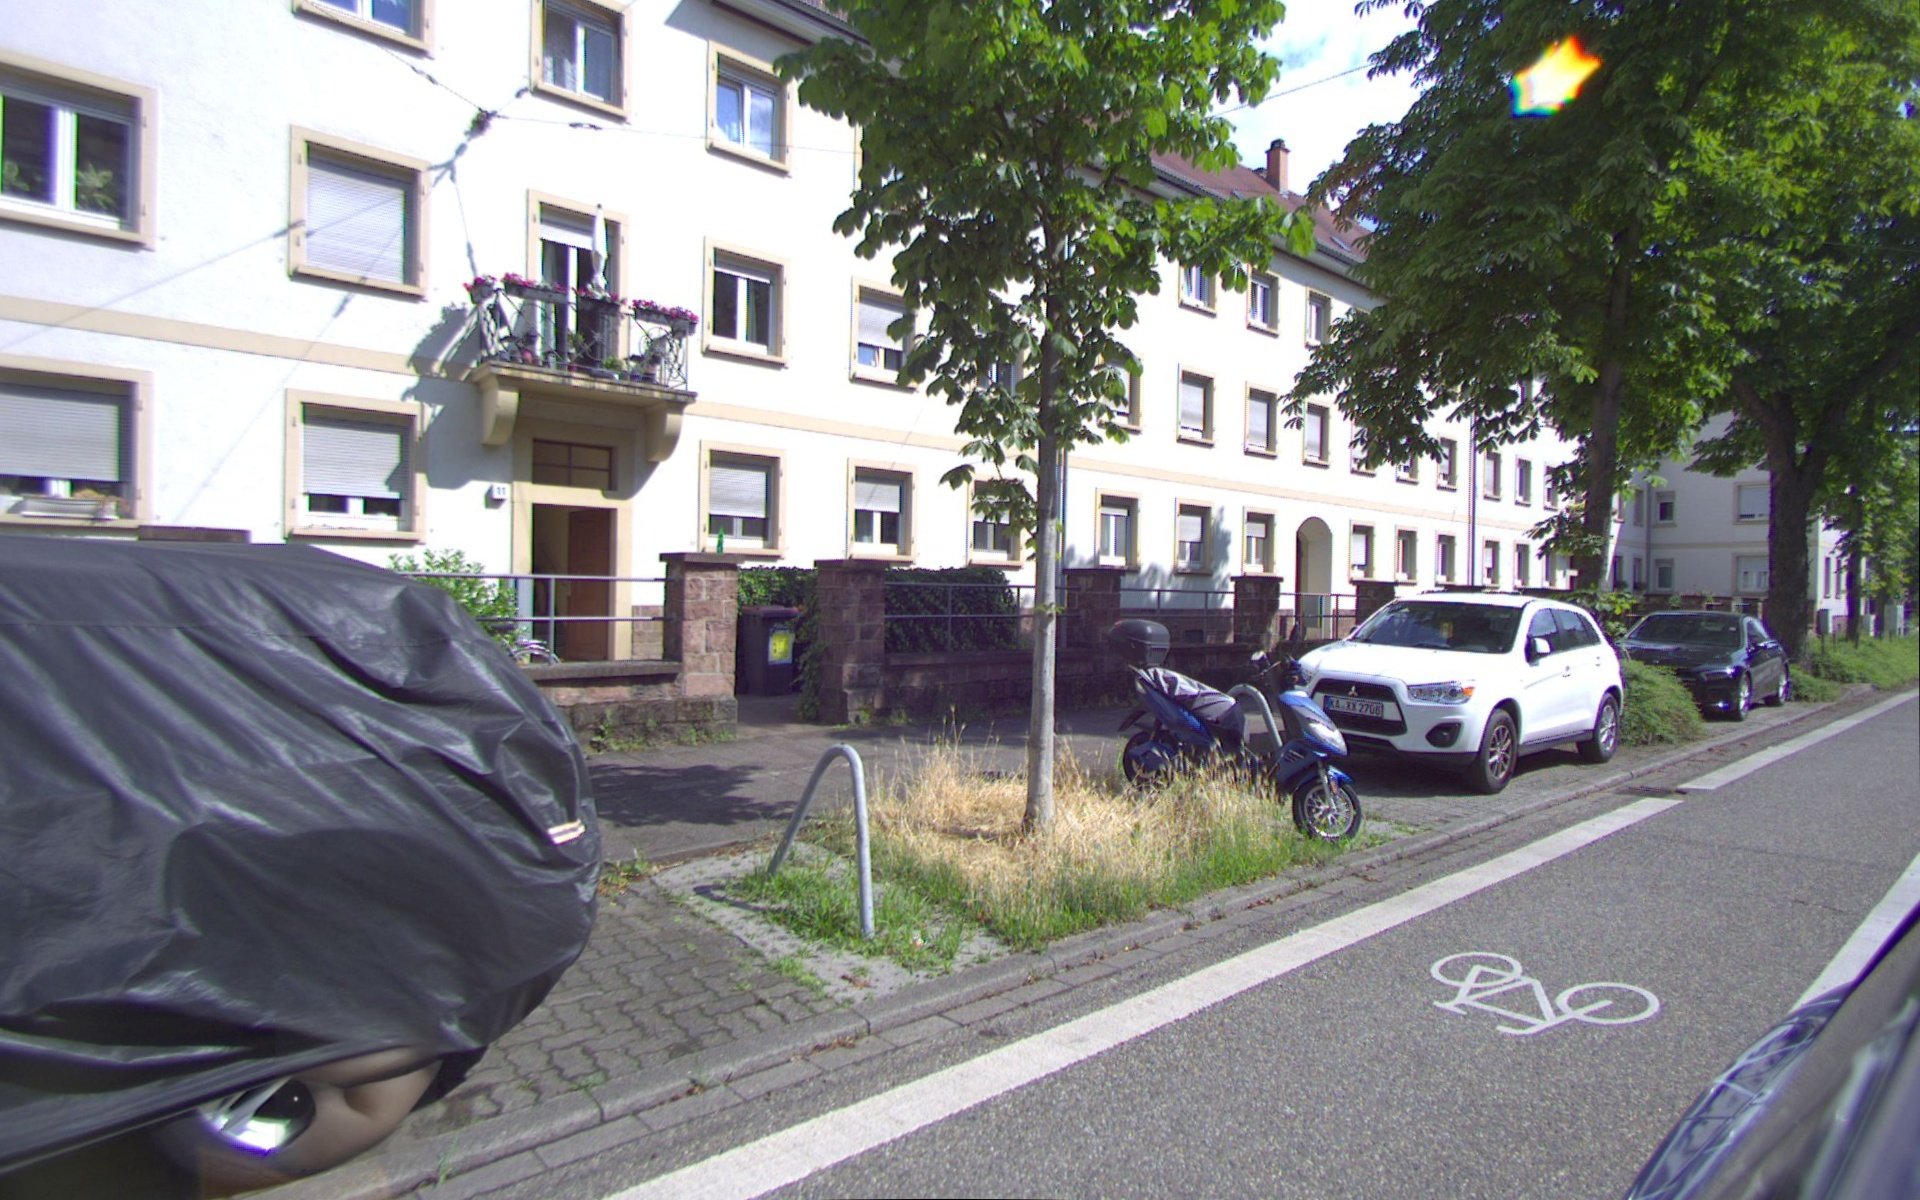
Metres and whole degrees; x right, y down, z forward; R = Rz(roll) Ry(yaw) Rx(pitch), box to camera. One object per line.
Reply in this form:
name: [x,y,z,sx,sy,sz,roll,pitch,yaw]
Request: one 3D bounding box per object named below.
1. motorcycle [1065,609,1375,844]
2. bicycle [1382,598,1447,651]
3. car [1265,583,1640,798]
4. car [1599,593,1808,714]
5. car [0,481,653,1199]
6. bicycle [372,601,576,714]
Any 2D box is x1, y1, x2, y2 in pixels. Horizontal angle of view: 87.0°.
motorcycle: [1.739,0.769,7.058,0.735,1.354,2.008,0,1,-44]
bicycle: [10.188,0.531,22.658,1.769,1.149,0.626,0,0,-41]
car: [4.809,0.668,9.602,4.175,1.601,1.745,0,0,-42]
car: [11.187,0.693,15.119,4.213,1.540,1.663,0,0,-42]
car: [-3.282,0.561,2.365,4.556,1.674,1.866,0,1,-41]
bicycle: [-4.556,0.506,9.559,1.649,0.976,0.538,0,1,-40]
